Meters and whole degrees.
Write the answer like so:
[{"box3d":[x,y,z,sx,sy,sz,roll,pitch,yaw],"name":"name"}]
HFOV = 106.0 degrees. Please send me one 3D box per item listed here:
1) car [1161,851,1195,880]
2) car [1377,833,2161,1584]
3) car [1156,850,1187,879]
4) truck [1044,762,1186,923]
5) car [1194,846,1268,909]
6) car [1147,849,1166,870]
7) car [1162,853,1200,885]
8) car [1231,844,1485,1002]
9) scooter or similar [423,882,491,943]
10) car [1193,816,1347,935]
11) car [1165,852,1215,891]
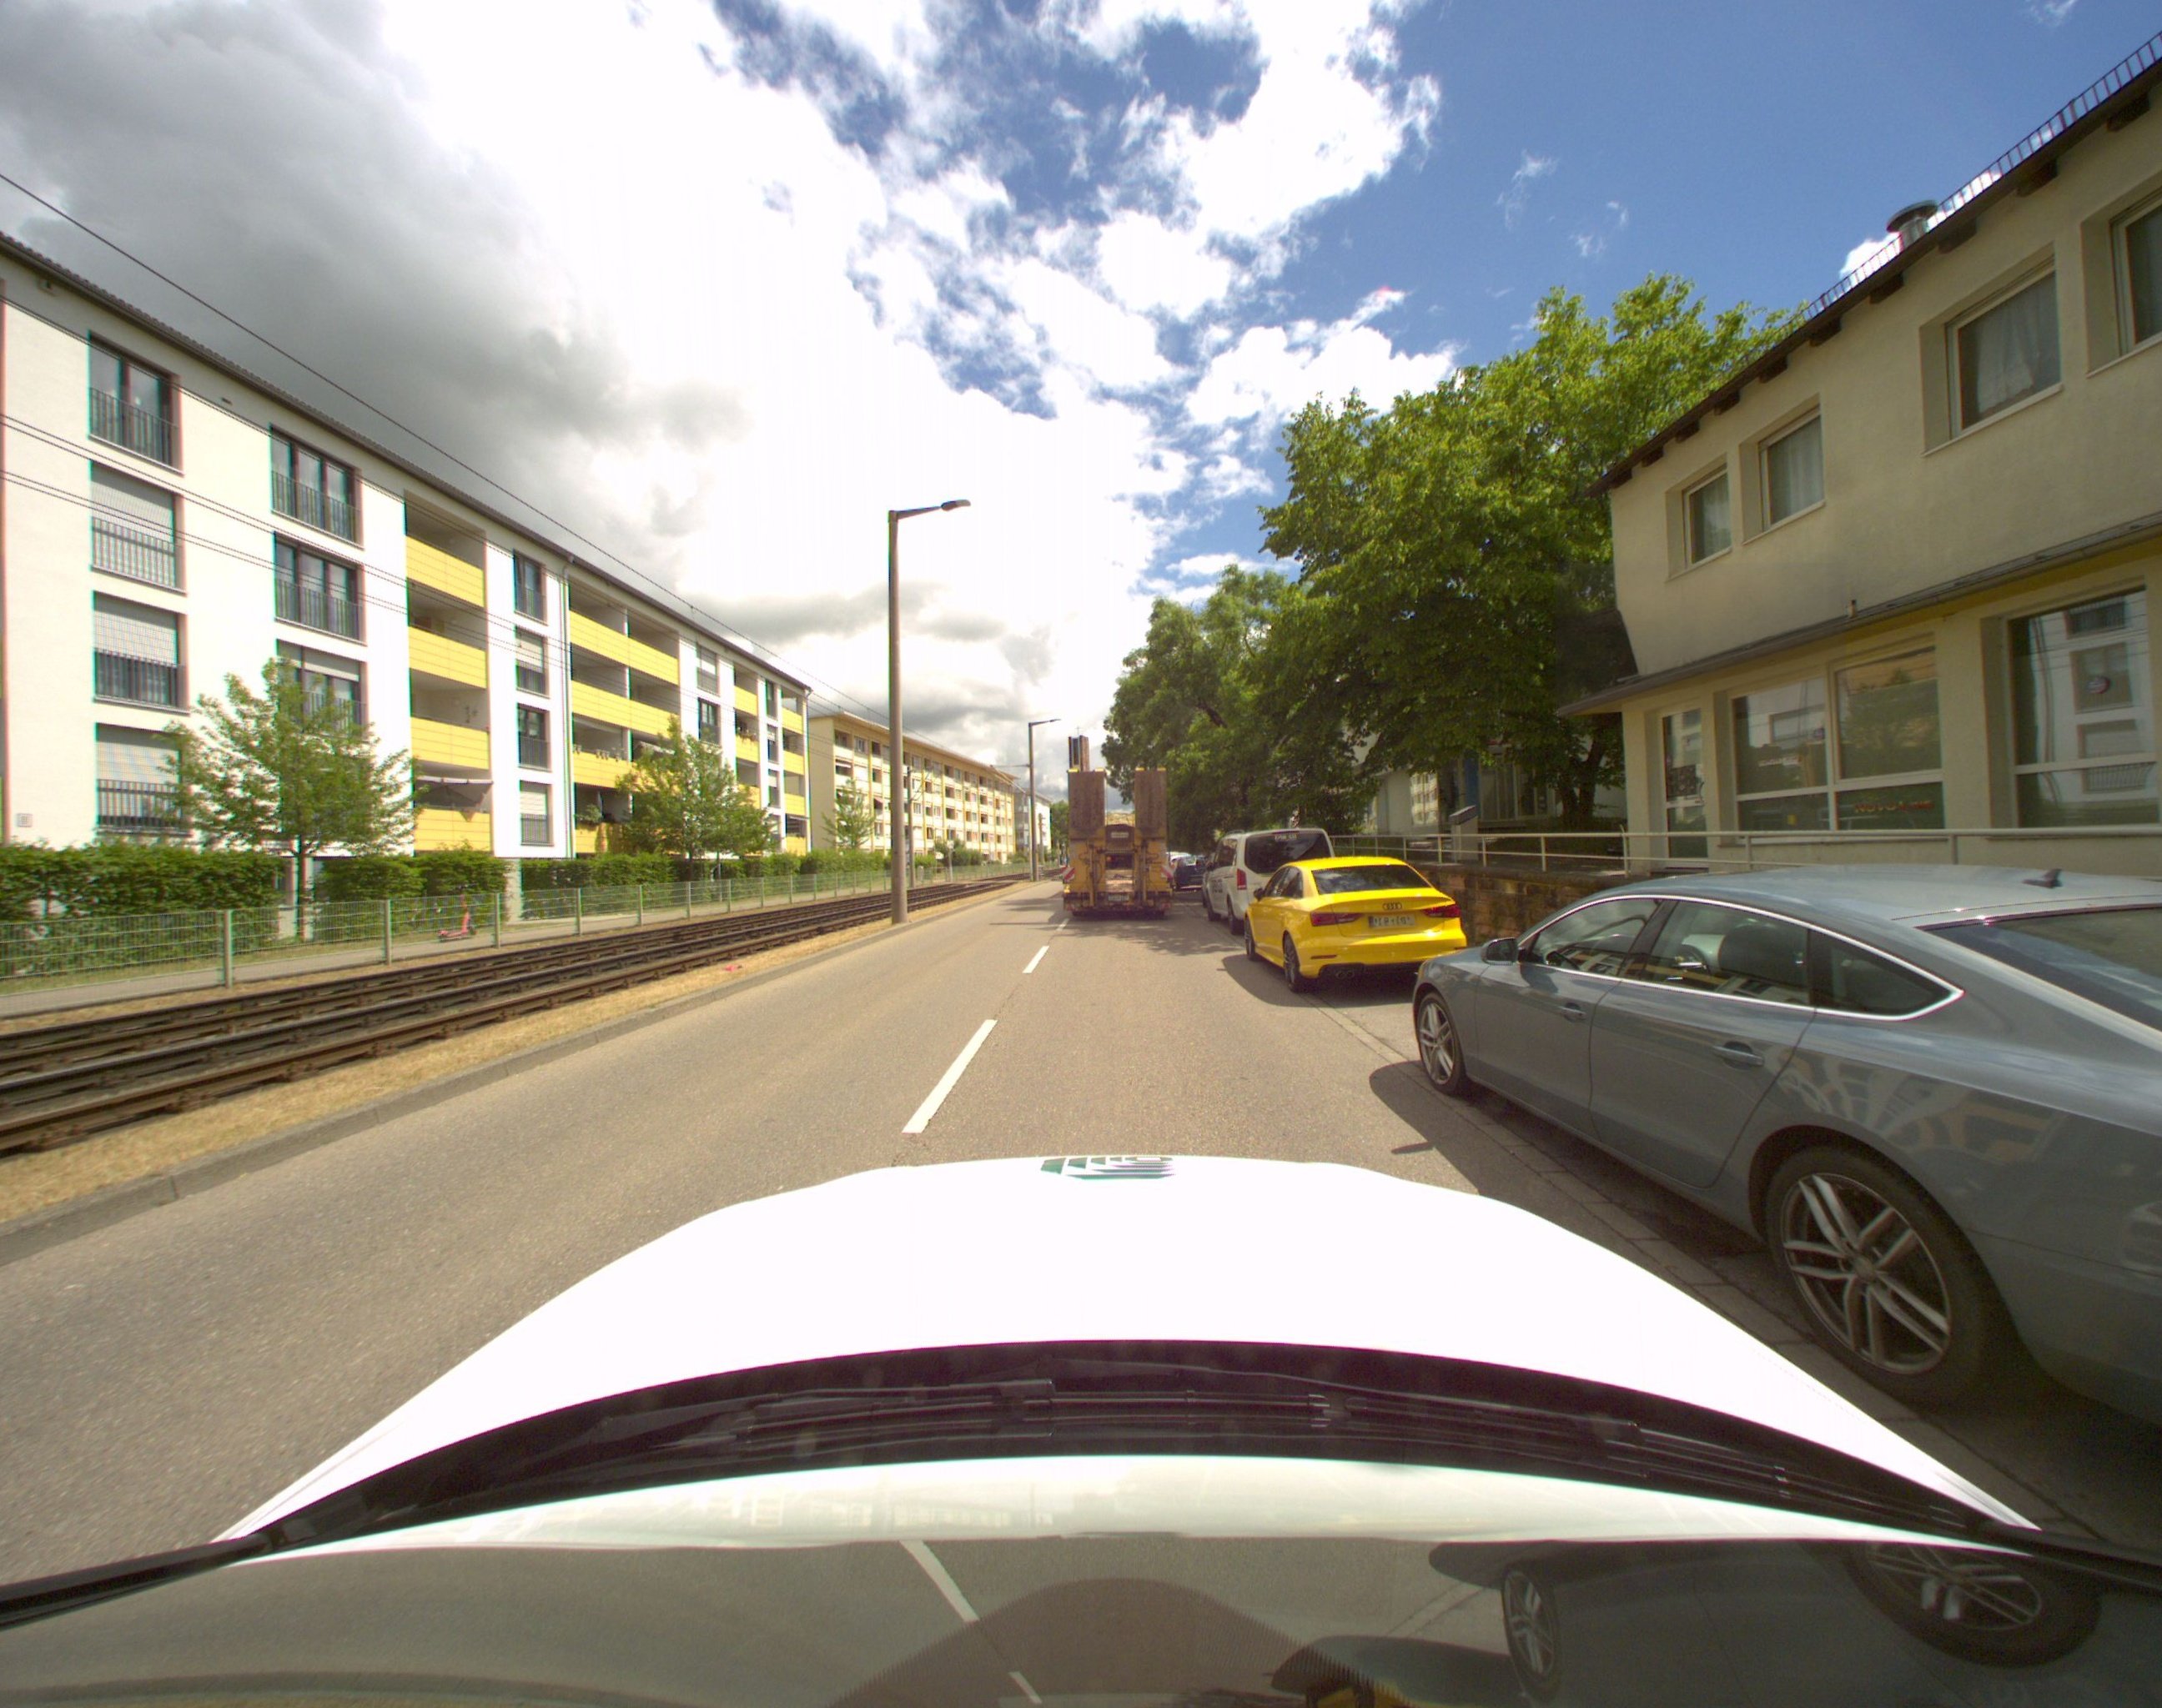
[{"box3d":[5.456,0.630,46.140,1.575,1.552,3.476,-2,0,2],"name":"car"},{"box3d":[2.996,0.687,3.558,1.749,1.442,4.493,-3,0,0],"name":"car"},{"box3d":[5.634,0.631,50.862,1.815,1.682,4.583,-2,0,6],"name":"car"},{"box3d":[0.883,-0.276,24.674,3.113,3.564,12.461,-2,0,1],"name":"truck"},{"box3d":[4.014,0.601,22.156,1.507,1.534,2.848,-3,0,2],"name":"car"},{"box3d":[7.731,0.536,84.000,1.791,1.968,4.595,-3,0,4],"name":"car"},{"box3d":[4.985,0.733,41.009,1.638,1.490,3.825,-2,0,3],"name":"car"},{"box3d":[3.094,0.676,10.098,1.748,1.442,4.343,-3,0,2],"name":"car"},{"box3d":[-14.177,1.303,18.538,0.488,1.293,1.303,-2,0,3],"name":"scooter or similar"},{"box3d":[3.652,0.369,16.885,1.907,1.958,5.746,-3,0,1],"name":"car"},{"box3d":[4.533,0.698,34.312,1.602,1.456,3.676,-3,0,1],"name":"car"}]
